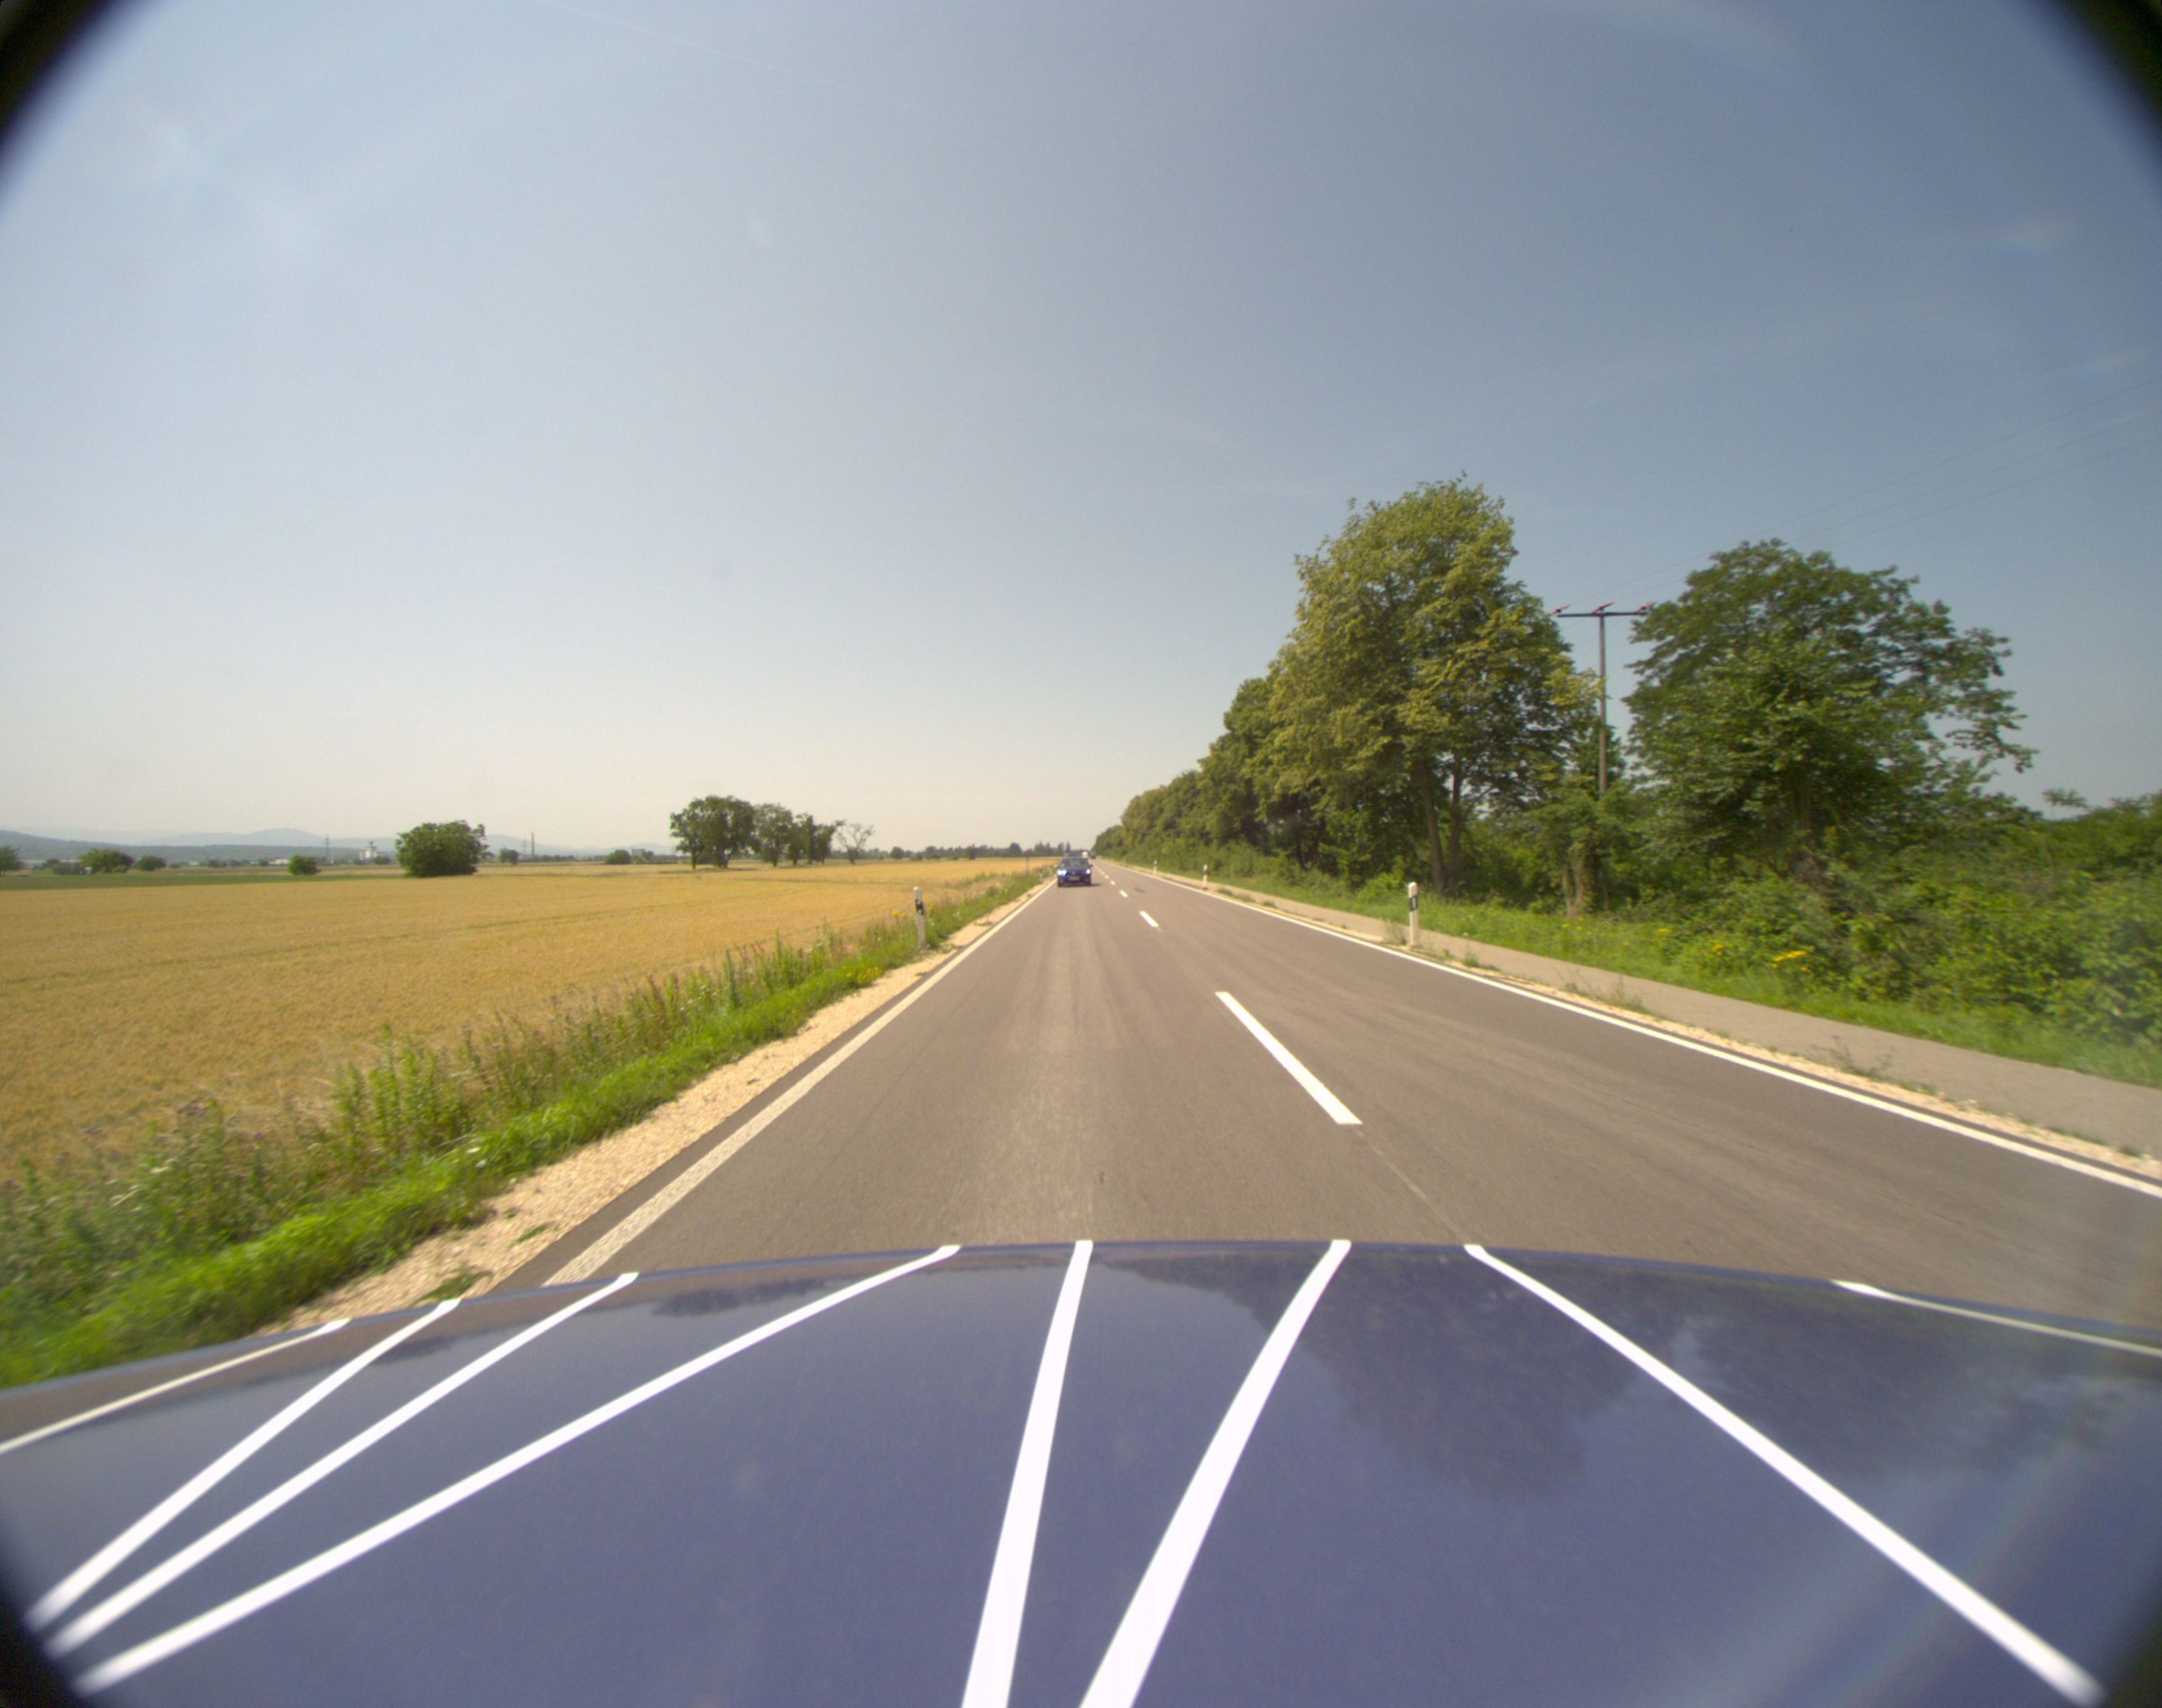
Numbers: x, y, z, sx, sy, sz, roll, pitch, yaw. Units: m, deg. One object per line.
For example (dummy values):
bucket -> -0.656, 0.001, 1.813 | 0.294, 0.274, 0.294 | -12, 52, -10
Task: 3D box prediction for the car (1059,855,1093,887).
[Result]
car -> -0.241, 0.827, 39.937 | 1.662, 1.508, 3.999 | -2, 0, 0
